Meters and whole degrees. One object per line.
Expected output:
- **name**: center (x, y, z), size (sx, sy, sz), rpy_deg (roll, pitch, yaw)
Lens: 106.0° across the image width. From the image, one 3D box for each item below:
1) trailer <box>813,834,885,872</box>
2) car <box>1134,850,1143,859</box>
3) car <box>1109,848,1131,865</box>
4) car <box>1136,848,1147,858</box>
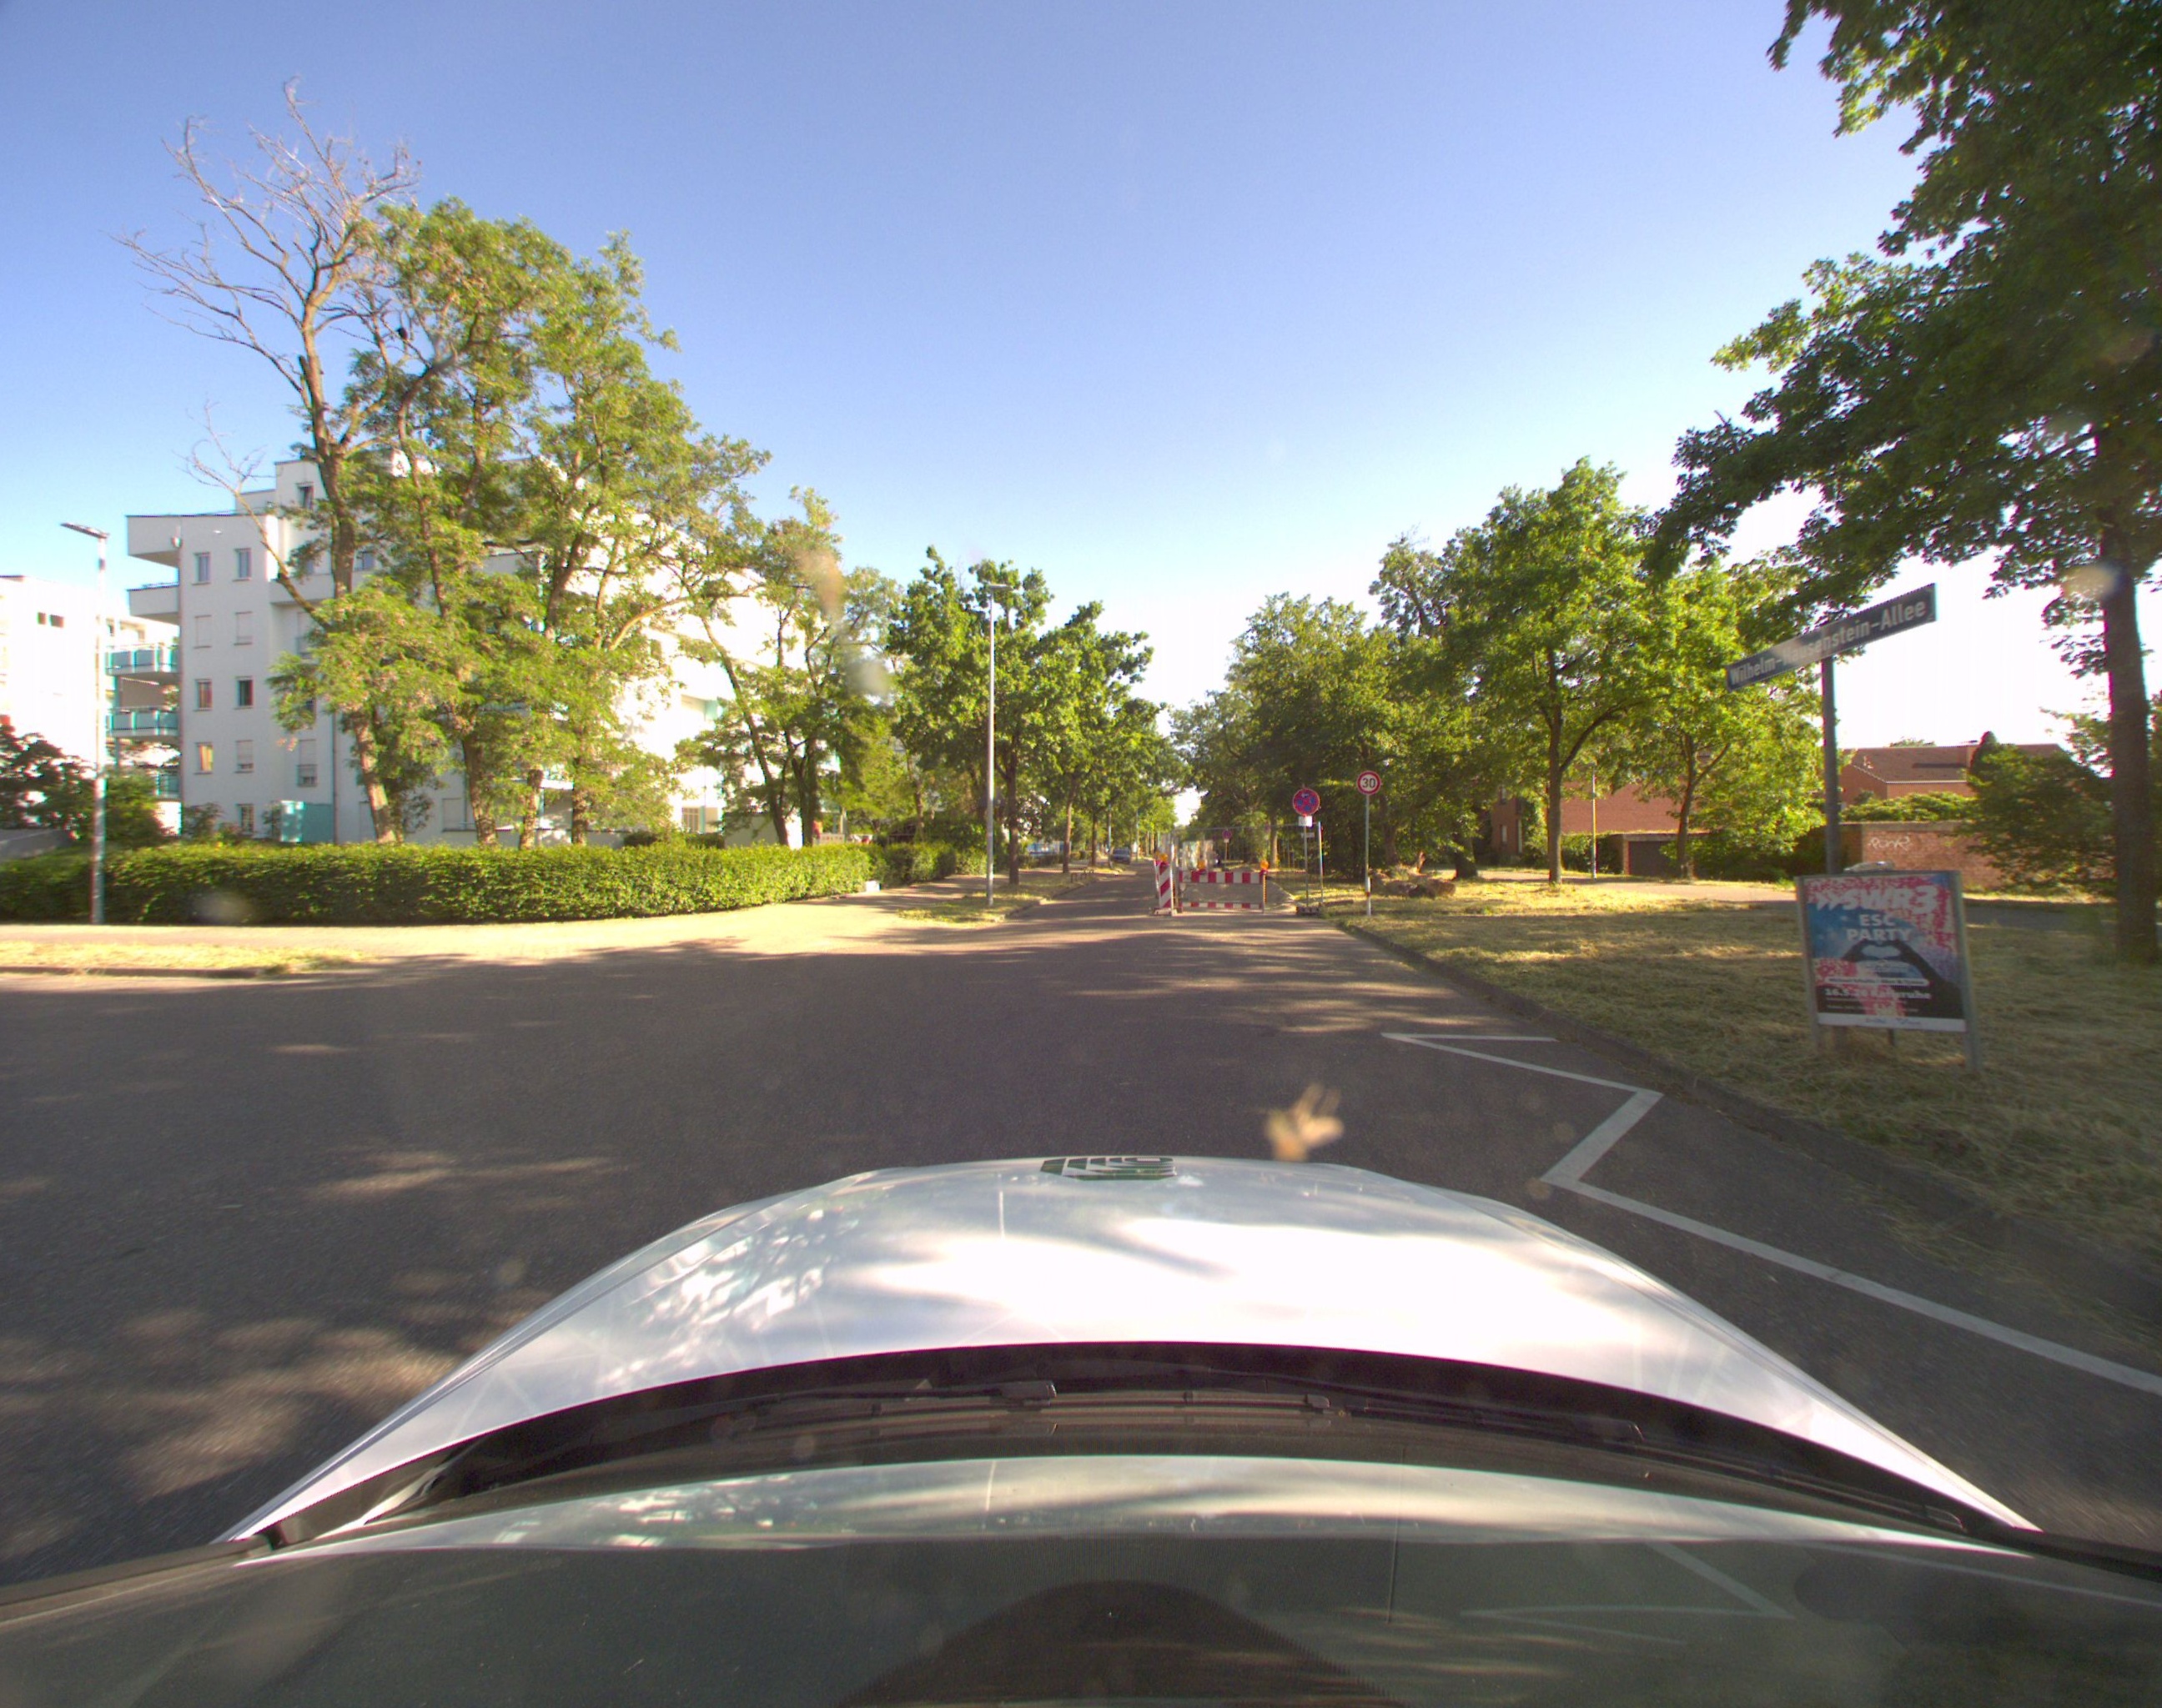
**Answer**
- **trailer**: center (-13.114, -0.068, 46.308), size (1.962, 2.042, 4.447), rpy_deg (0, 0, 14)
- **car**: center (8.548, 0.111, 120.822), size (1.355, 1.302, 3.486), rpy_deg (1, 0, 5)
- **car**: center (3.594, 0.206, 74.132), size (1.742, 1.478, 3.843), rpy_deg (0, 0, 6)
- **car**: center (8.087, -0.083, 109.058), size (1.355, 1.302, 3.486), rpy_deg (1, 0, 5)
